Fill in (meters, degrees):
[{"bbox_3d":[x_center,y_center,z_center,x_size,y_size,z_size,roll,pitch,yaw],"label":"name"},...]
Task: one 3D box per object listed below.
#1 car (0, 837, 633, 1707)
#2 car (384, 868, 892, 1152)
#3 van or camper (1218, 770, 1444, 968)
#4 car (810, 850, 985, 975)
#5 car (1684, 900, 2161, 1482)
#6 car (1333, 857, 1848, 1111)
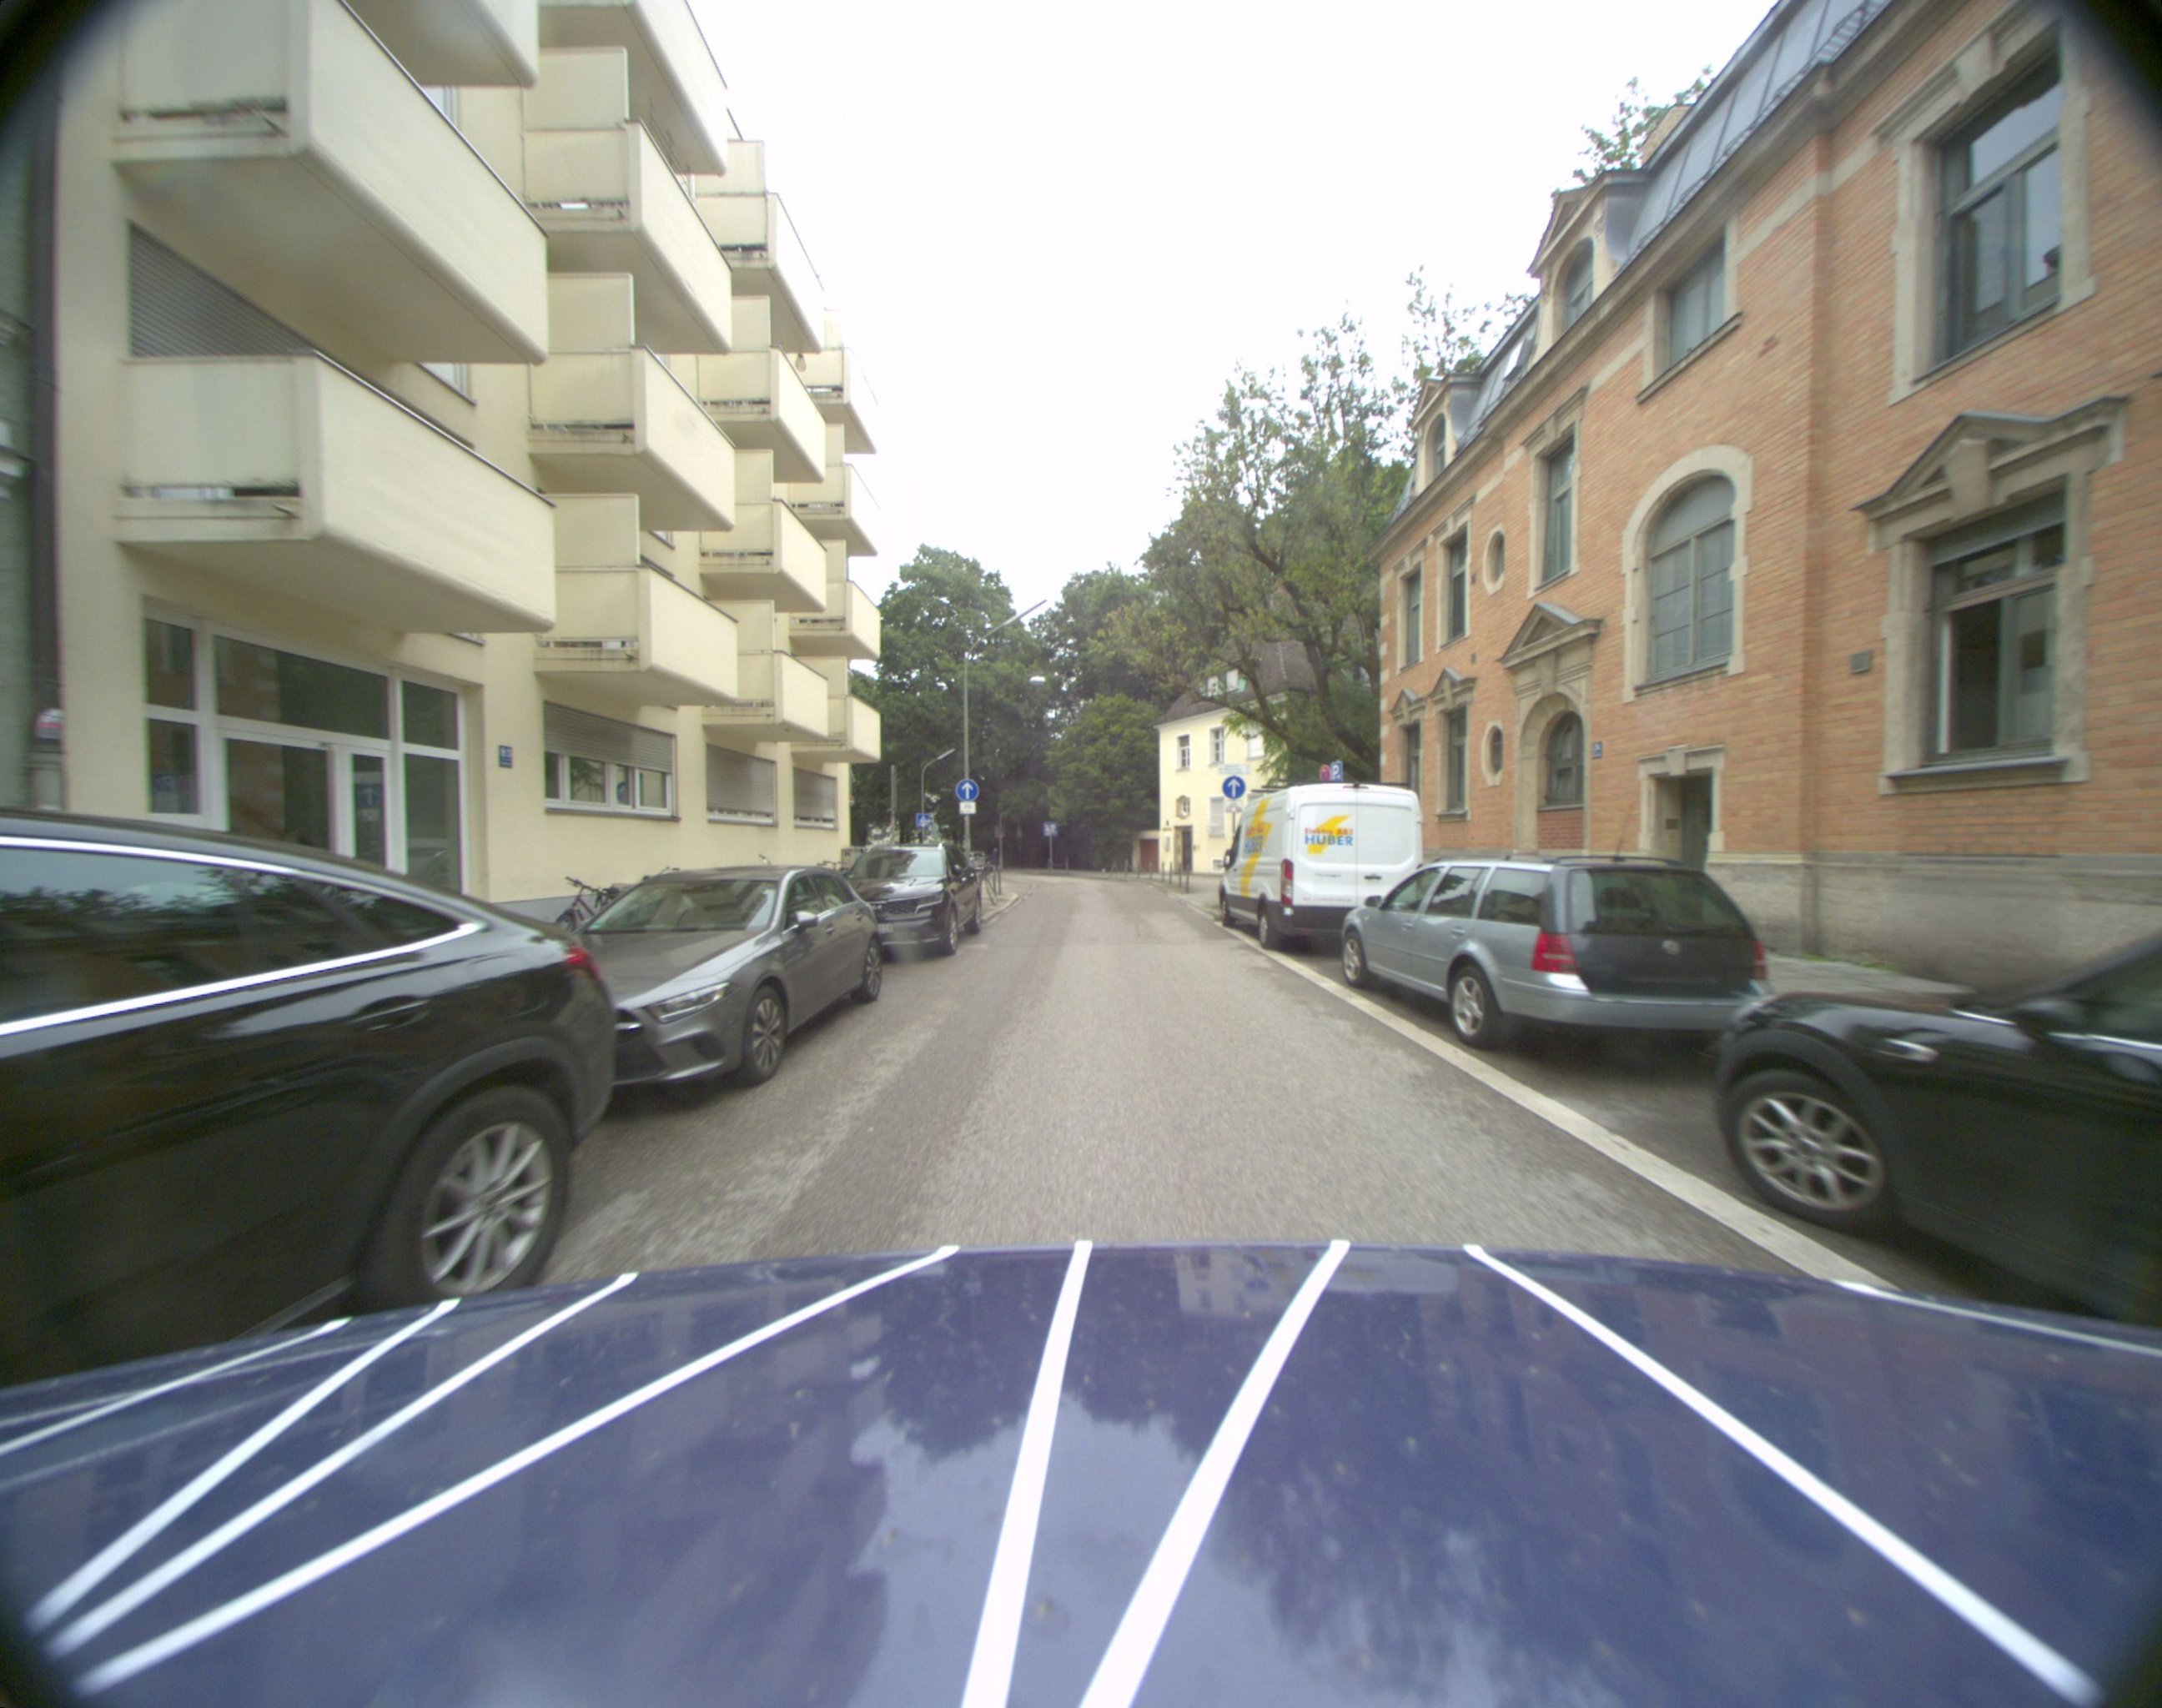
[{"bbox_3d":[-2.876,0.821,0.889,1.860,1.701,4.697,0,1,1],"label":"car"},{"bbox_3d":[-3.007,0.915,6.411,1.753,1.458,4.335,0,1,0],"label":"car"},{"bbox_3d":[3.802,0.178,12.689,2.116,2.646,4.957,0,1,0],"label":"van or camper"},{"bbox_3d":[-2.734,0.774,12.332,1.771,1.608,4.262,-1,1,0],"label":"car"},{"bbox_3d":[3.702,0.940,1.633,1.769,1.407,3.792,0,1,0],"label":"car"},{"bbox_3d":[3.798,0.813,6.695,1.769,1.492,4.080,0,1,0],"label":"car"}]
